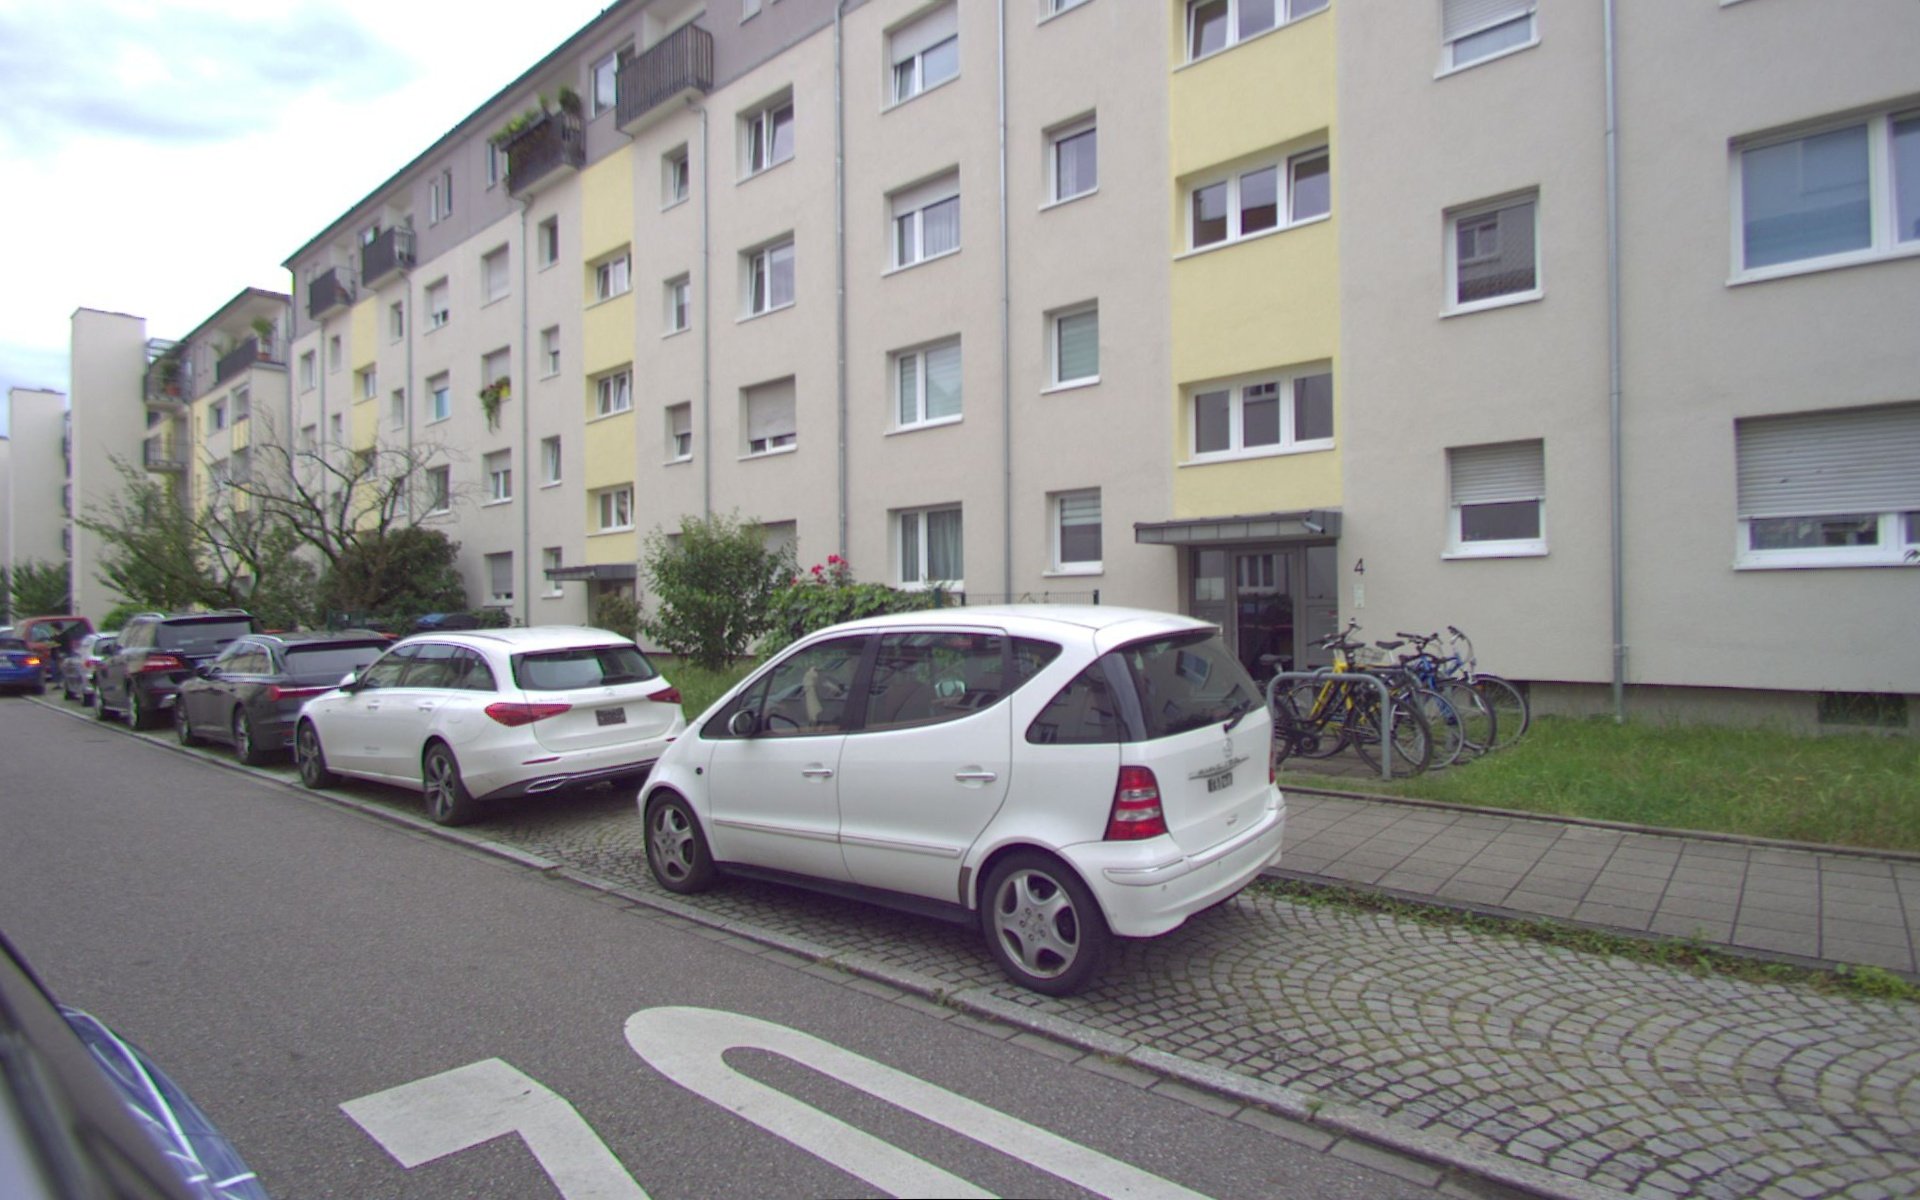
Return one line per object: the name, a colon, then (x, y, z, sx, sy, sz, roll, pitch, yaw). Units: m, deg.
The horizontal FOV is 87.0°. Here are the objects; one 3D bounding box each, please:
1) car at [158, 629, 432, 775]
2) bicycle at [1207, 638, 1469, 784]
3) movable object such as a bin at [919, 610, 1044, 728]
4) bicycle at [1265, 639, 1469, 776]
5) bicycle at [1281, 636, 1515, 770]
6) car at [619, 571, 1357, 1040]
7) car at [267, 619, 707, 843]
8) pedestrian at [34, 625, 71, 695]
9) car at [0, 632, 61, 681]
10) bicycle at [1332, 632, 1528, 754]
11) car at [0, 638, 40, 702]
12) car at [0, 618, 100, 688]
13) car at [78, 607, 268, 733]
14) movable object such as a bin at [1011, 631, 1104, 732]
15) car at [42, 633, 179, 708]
car: (-8.343, 1.121, 12.526, 4.480, 1.464, 1.707, -2, -1, 41)
bicycle: (2.941, 0.827, 8.027, 1.877, 1.032, 0.483, -2, -2, 41)
movable object such as a bin: (0.279, 0.821, 12.717, 1.187, 1.385, 1.047, 0, 0, 36)
bicycle: (3.312, 0.843, 8.331, 1.496, 1.032, 0.352, -2, -2, 41)
bicycle: (3.694, 0.836, 8.648, 1.753, 1.032, 0.473, -2, -2, 41)
car: (-0.058, 0.779, 5.430, 3.724, 1.651, 1.668, -2, -2, 40)
car: (-4.441, 1.002, 9.122, 4.681, 1.521, 1.701, -3, -2, 39)
pedestrian: (-22.194, 1.453, 24.753, 0.621, 1.679, 0.596, -2, -2, 38)
car: (-30.264, 1.800, 32.374, 3.538, 1.455, 1.686, -3, -2, 39)
bicycle: (4.283, 0.827, 9.297, 1.557, 1.032, 0.416, -2, -2, 38)
car: (-22.714, 1.594, 23.470, 3.907, 1.325, 1.658, -1, -1, 42)
car: (-25.600, 1.472, 28.324, 3.538, 1.820, 1.686, -3, -2, 39)
car: (-12.825, 1.075, 16.385, 4.448, 1.793, 1.555, -3, -2, 40)
movable object such as a bin: (1.171, 0.944, 12.114, 0.786, 1.117, 0.861, 0, 0, 37)
car: (-17.816, 1.441, 21.188, 3.538, 1.408, 1.556, -3, -2, 39)
